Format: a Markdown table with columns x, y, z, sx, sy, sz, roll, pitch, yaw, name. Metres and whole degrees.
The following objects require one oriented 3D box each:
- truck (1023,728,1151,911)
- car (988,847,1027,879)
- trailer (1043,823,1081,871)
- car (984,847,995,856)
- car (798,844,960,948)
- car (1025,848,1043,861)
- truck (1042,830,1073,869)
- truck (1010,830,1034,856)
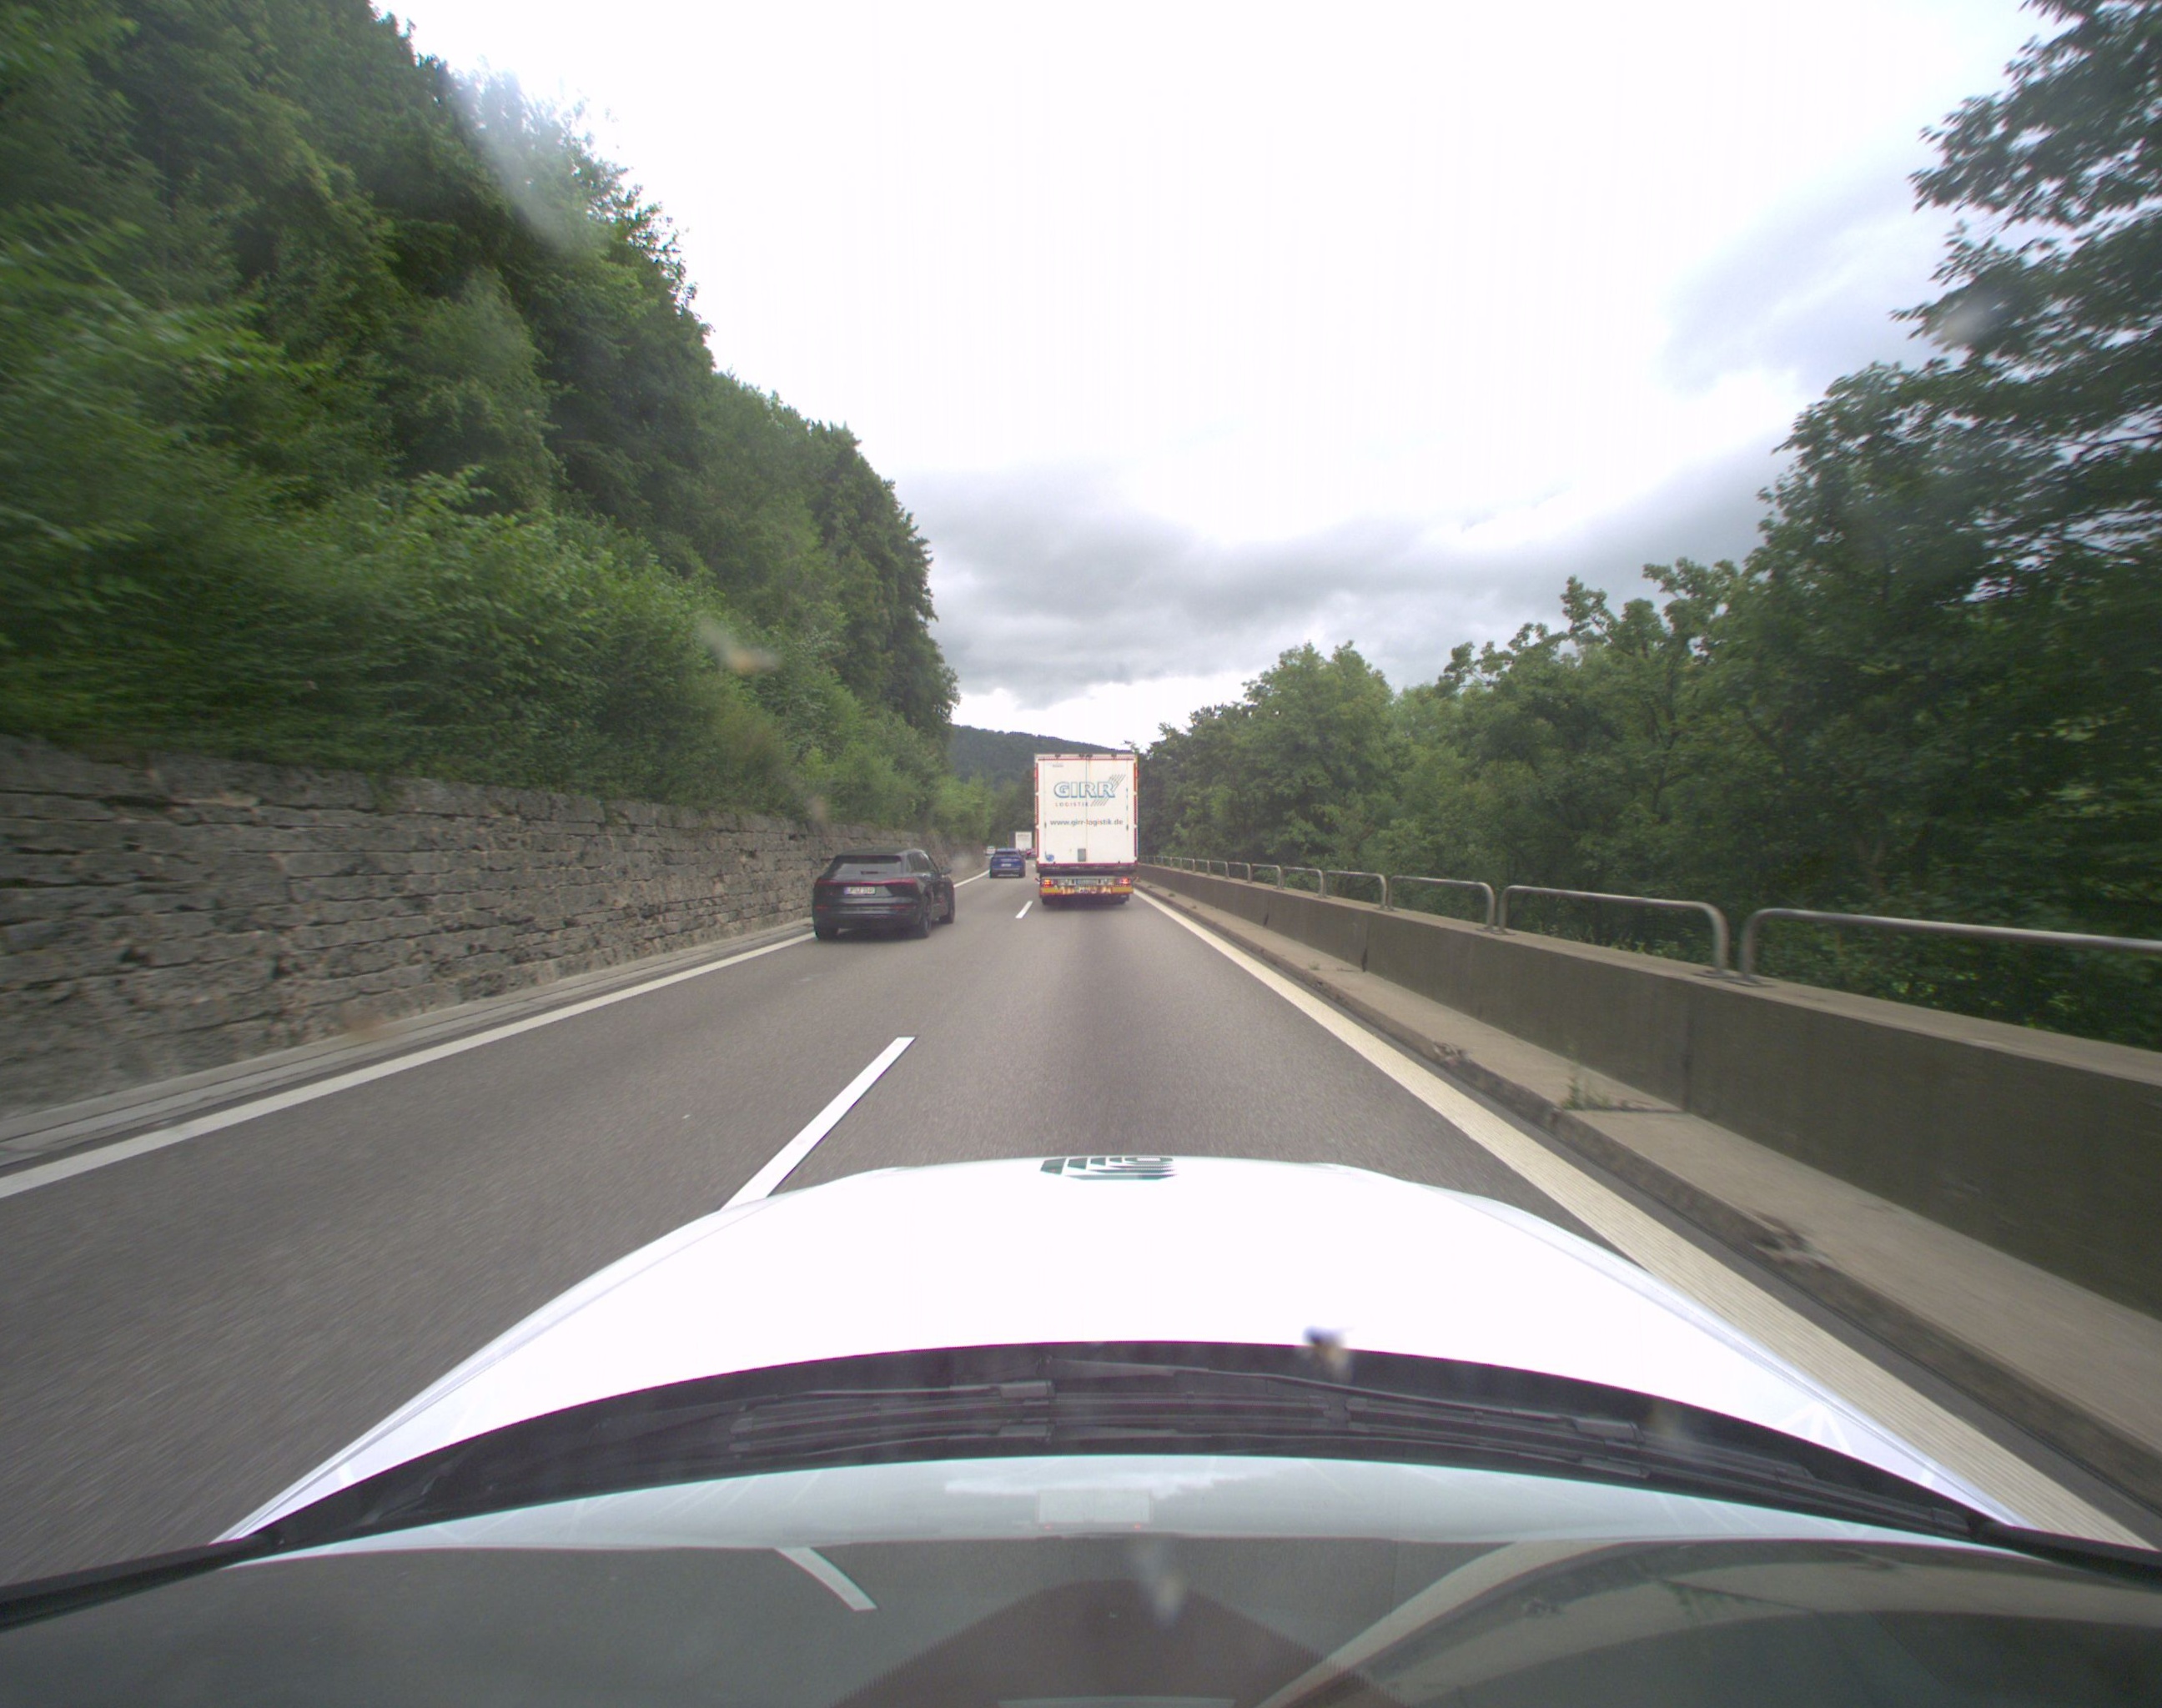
| x | y | z | sx | sy | sz | roll | pitch | yaw | name |
| --- | --- | --- | --- | --- | --- | --- | --- | --- | --- |
| 0.021 | -0.887 | 27.568 | 3.075 | 4.464 | 15.148 | -1 | 0 | -1 | truck |
| -4.016 | 0.471 | 45.454 | 1.990 | 1.632 | 5.001 | -2 | 0 | -4 | car |
| -1.462 | -0.470 | 57.381 | 2.207 | 3.048 | 11.123 | 0 | 0 | -4 | trailer |
| -15.861 | -0.429 | 141.024 | 1.896 | 1.550 | 4.237 | 0 | 0 | -8 | car |
| -3.667 | 0.675 | 15.815 | 1.988 | 1.632 | 5.005 | -2 | 0 | -2 | car |
| -6.136 | 0.052 | 106.023 | 2.059 | 1.654 | 3.989 | -1 | 0 | -8 | car |
| -1.868 | -0.337 | 63.336 | 2.205 | 2.851 | 4.996 | 0 | 0 | -5 | truck |
| -9.353 | -1.614 | 128.255 | 2.634 | 3.857 | 12.318 | -1 | 0 | -9 | truck |
